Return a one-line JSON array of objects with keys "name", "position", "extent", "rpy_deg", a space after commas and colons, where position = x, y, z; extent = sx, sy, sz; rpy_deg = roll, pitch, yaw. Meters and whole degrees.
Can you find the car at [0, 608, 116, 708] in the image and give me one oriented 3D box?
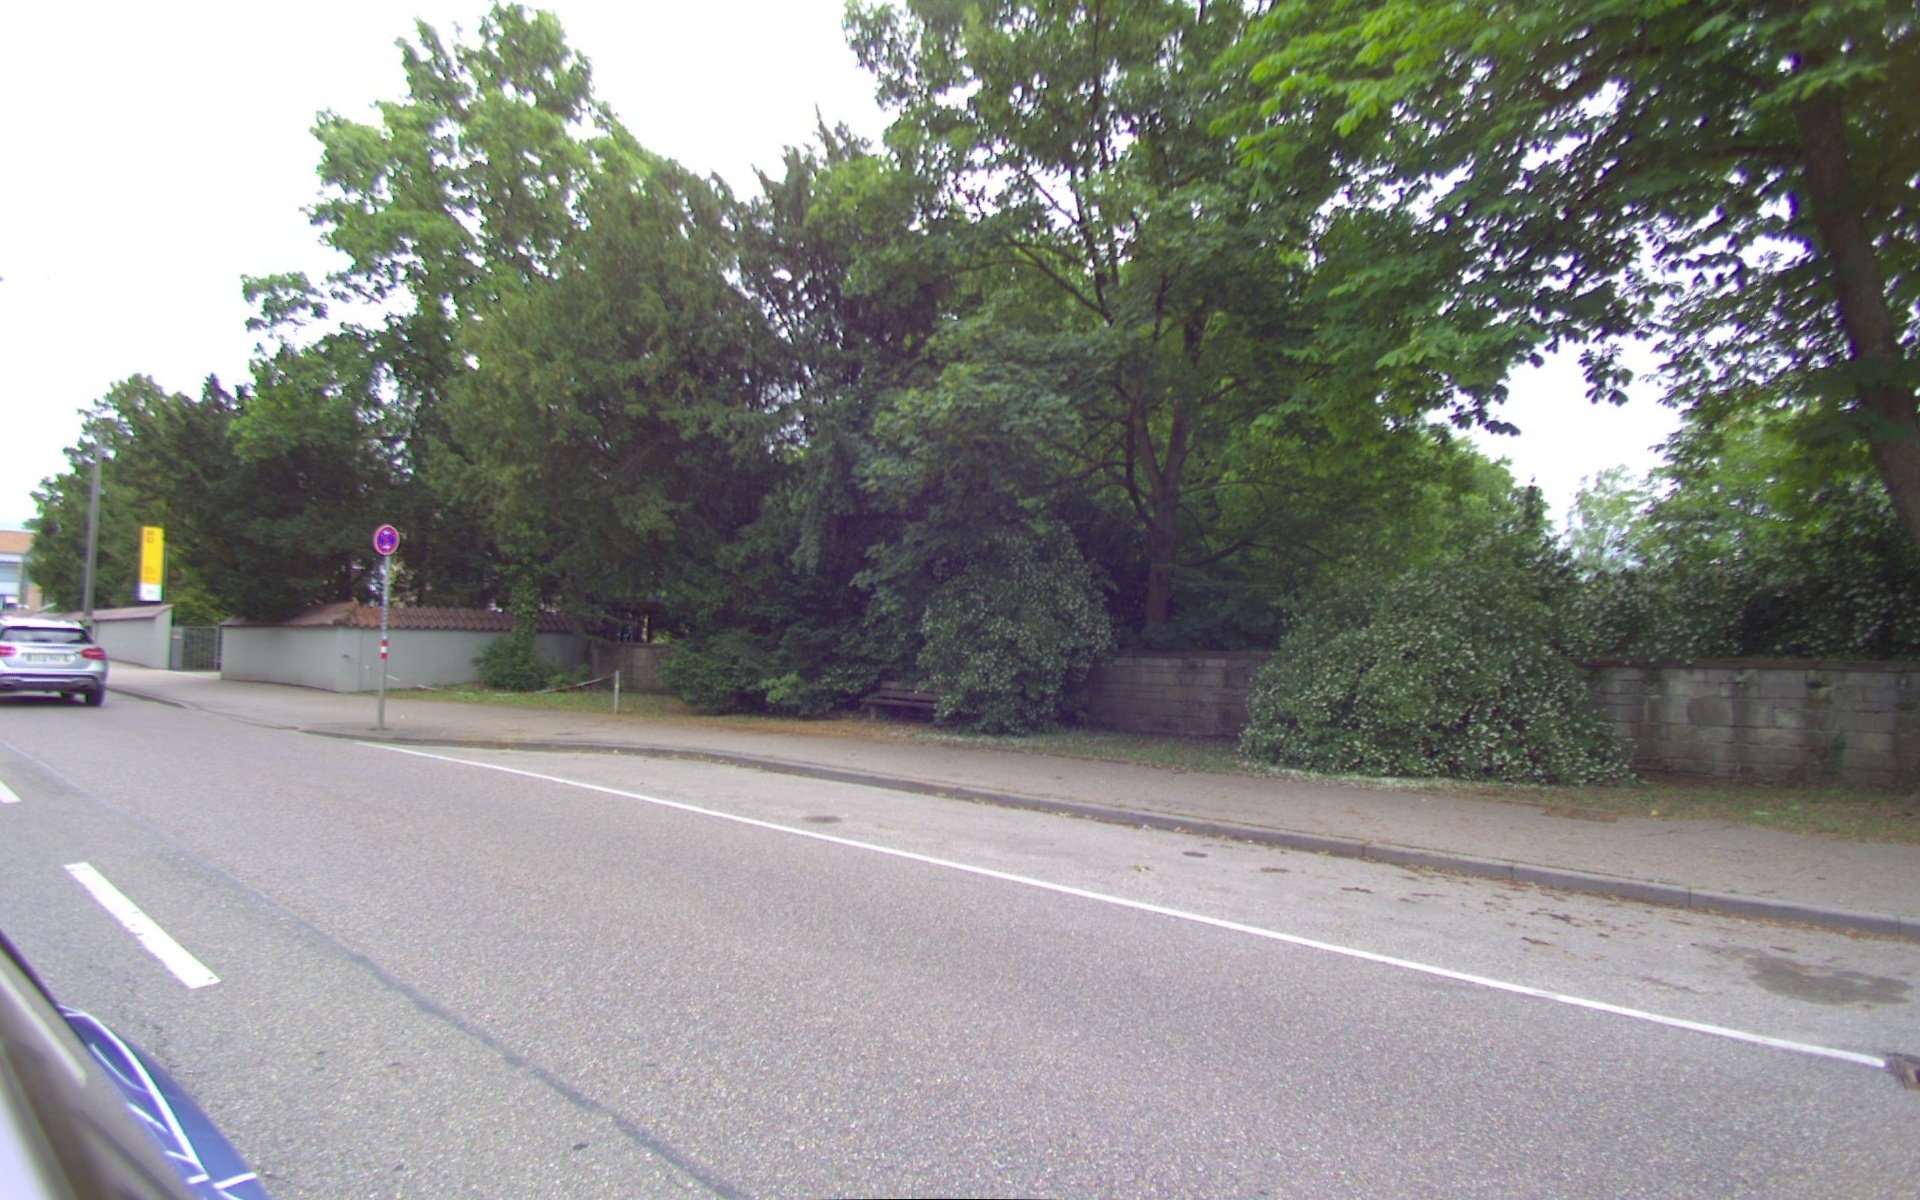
[{"name": "car", "position": [-17.280, 1.043, 18.686], "extent": [4.117, 1.666, 1.767], "rpy_deg": [-1, -5, 40]}]
